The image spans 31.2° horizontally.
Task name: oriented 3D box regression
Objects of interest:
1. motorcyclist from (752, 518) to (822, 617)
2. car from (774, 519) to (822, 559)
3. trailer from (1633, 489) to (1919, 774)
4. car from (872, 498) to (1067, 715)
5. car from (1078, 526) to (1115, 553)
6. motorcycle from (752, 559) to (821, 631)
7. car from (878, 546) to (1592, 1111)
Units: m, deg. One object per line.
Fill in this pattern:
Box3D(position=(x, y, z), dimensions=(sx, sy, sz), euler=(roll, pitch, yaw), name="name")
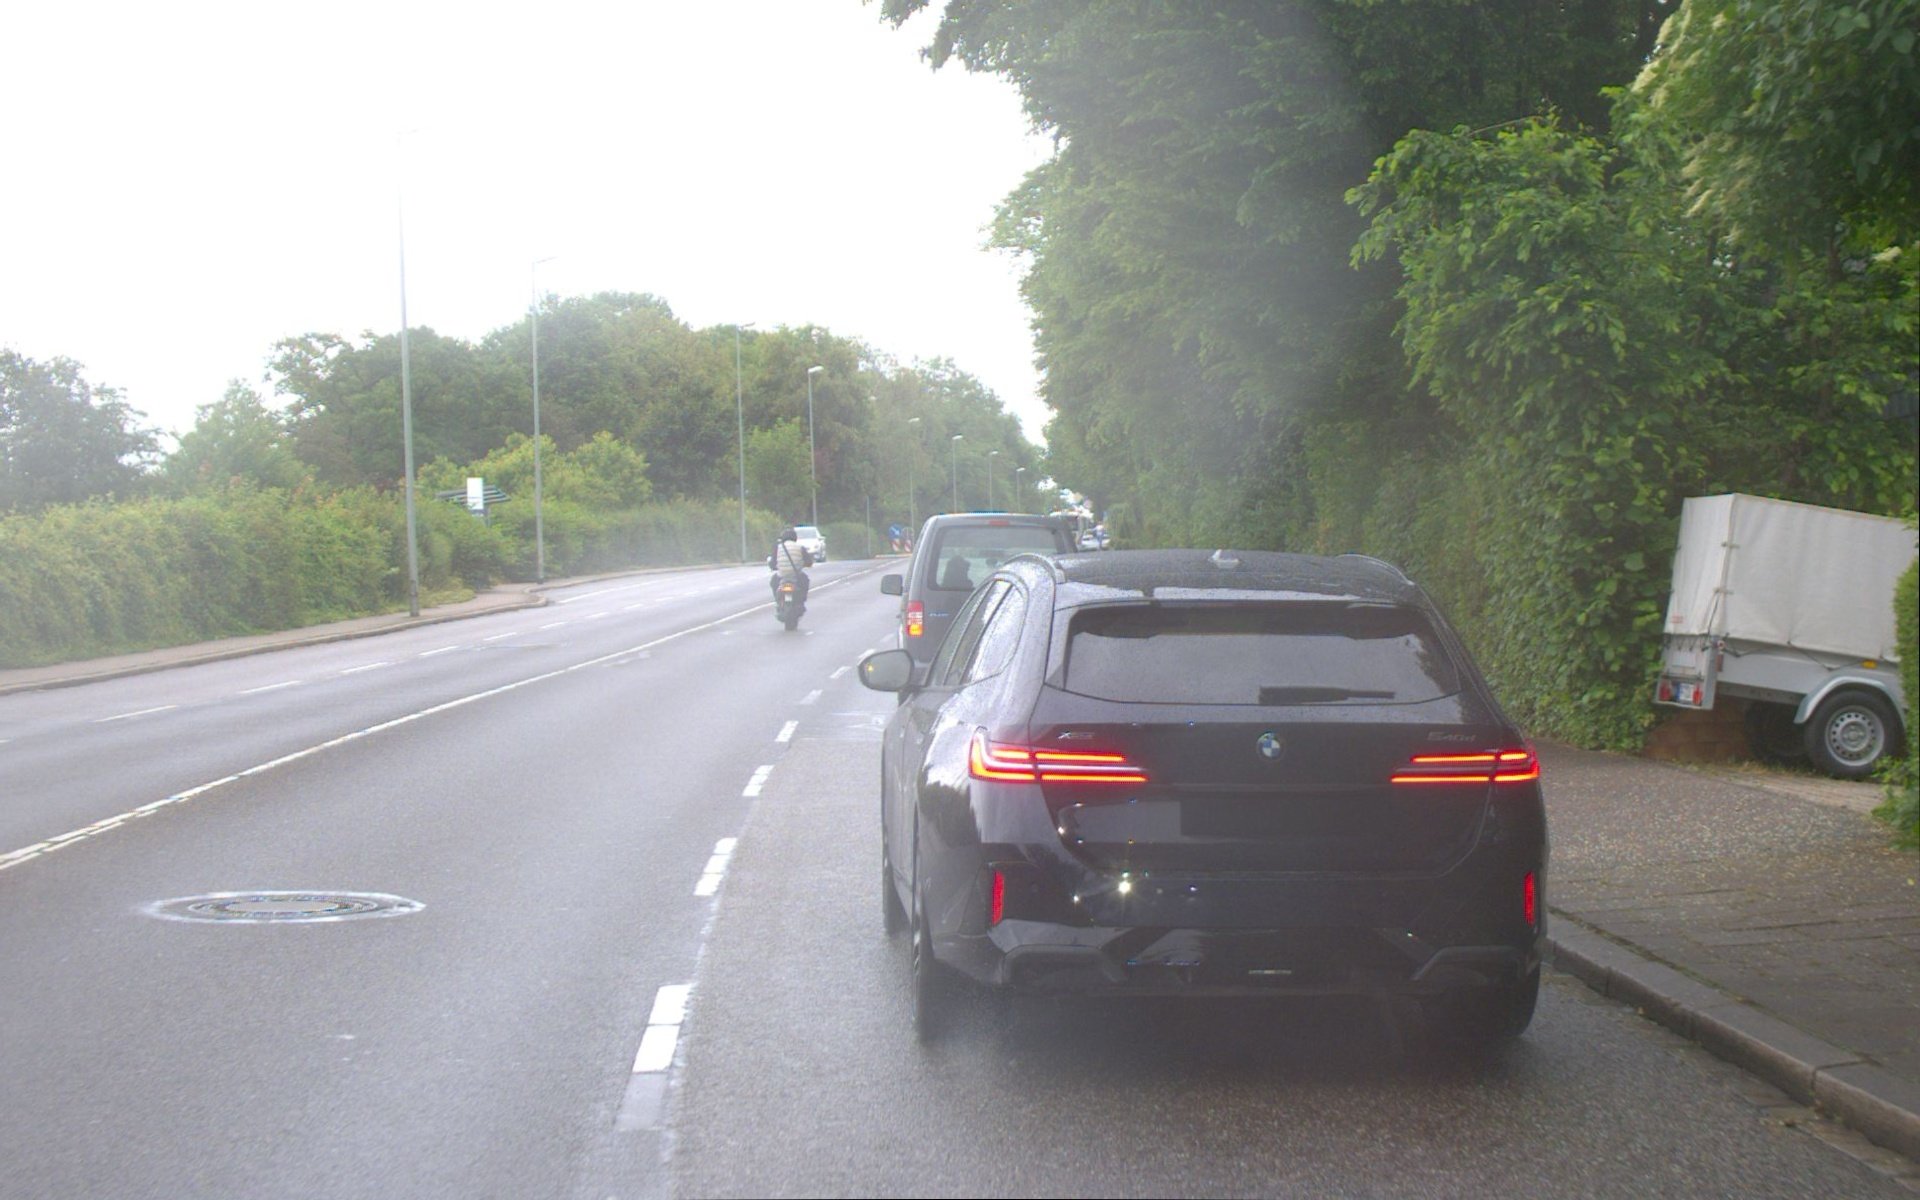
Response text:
Box3D(position=(-2.781, -0.521, 55.240), dimensions=(1.039, 1.562, 0.855), euler=(1, 0, 2), name="motorcyclist")
Box3D(position=(-6.824, -2.591, 145.251), dimensions=(1.756, 1.563, 4.000), euler=(-2, 1, 0), name="car")
Box3D(position=(5.947, 0.271, 21.527), dimensions=(2.980, 1.565, 1.489), euler=(7, 0, -2), name="trailer")
Box3D(position=(0.135, 0.008, 31.696), dimensions=(1.629, 1.827, 4.000), euler=(-2, 1, 2), name="car")
Box3D(position=(7.685, -3.411, 193.267), dimensions=(1.936, 1.437, 4.407), euler=(-1, 1, 4), name="car")
Box3D(position=(-2.783, -0.092, 55.359), dimensions=(0.876, 1.120, 2.741), euler=(1, 1, 2), name="motorcycle")
Box3D(position=(0.830, 0.582, 11.291), dimensions=(1.897, 1.484, 4.000), euler=(1, 1, 3), name="car")
